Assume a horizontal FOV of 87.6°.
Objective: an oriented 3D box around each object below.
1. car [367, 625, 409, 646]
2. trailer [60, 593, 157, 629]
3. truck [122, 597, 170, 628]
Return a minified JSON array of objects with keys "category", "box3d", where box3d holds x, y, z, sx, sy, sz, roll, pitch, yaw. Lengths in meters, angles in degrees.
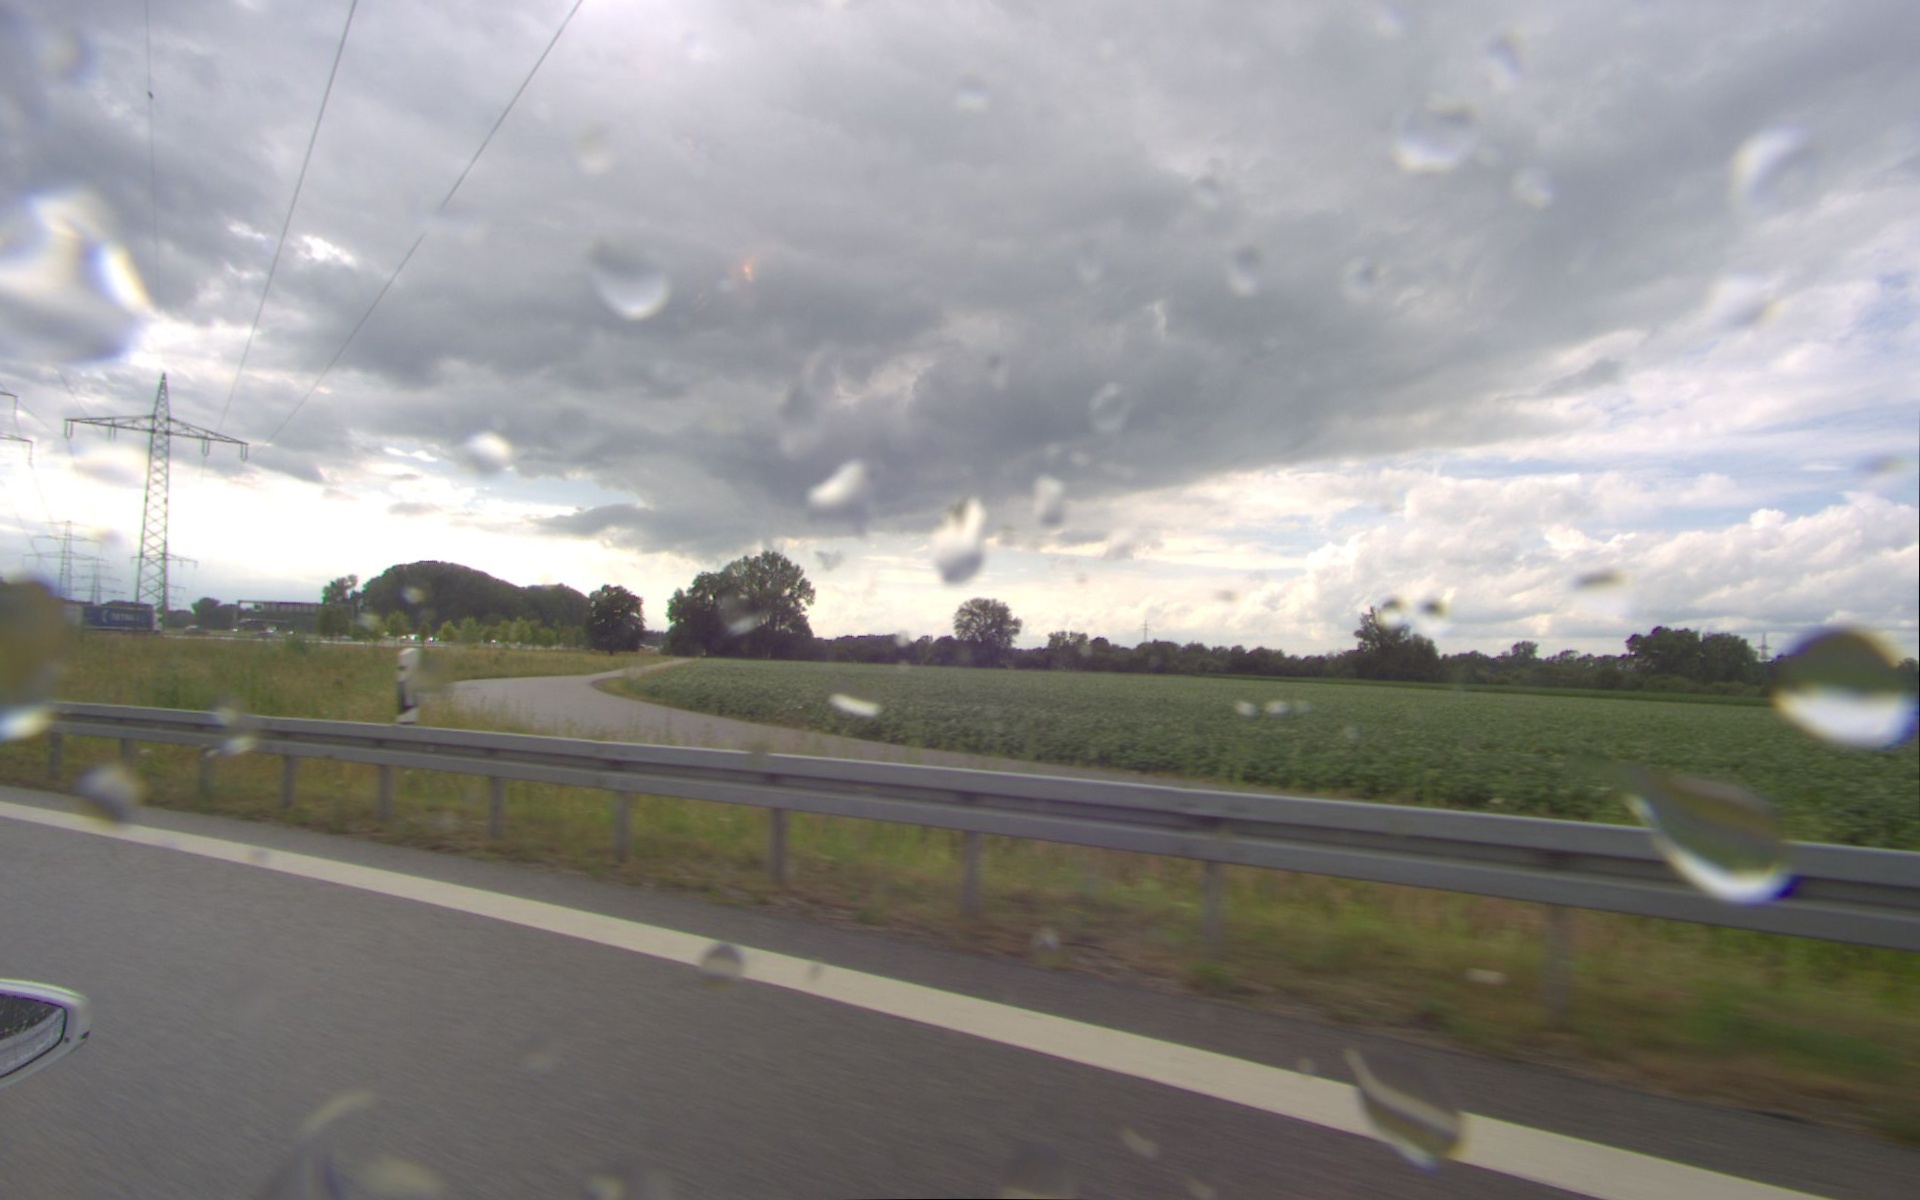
[{"category":"car","box3d":[-108.353,6.785,189.837,3.329,3.654,9.050,3,-4,-7]},{"category":"trailer","box3d":[-121.977,1.702,143.763,2.999,4.694,13.305,3,-2,-4]},{"category":"truck","box3d":[-122.338,1.927,150.591,3.019,4.536,5.074,3,-1,-3]}]
